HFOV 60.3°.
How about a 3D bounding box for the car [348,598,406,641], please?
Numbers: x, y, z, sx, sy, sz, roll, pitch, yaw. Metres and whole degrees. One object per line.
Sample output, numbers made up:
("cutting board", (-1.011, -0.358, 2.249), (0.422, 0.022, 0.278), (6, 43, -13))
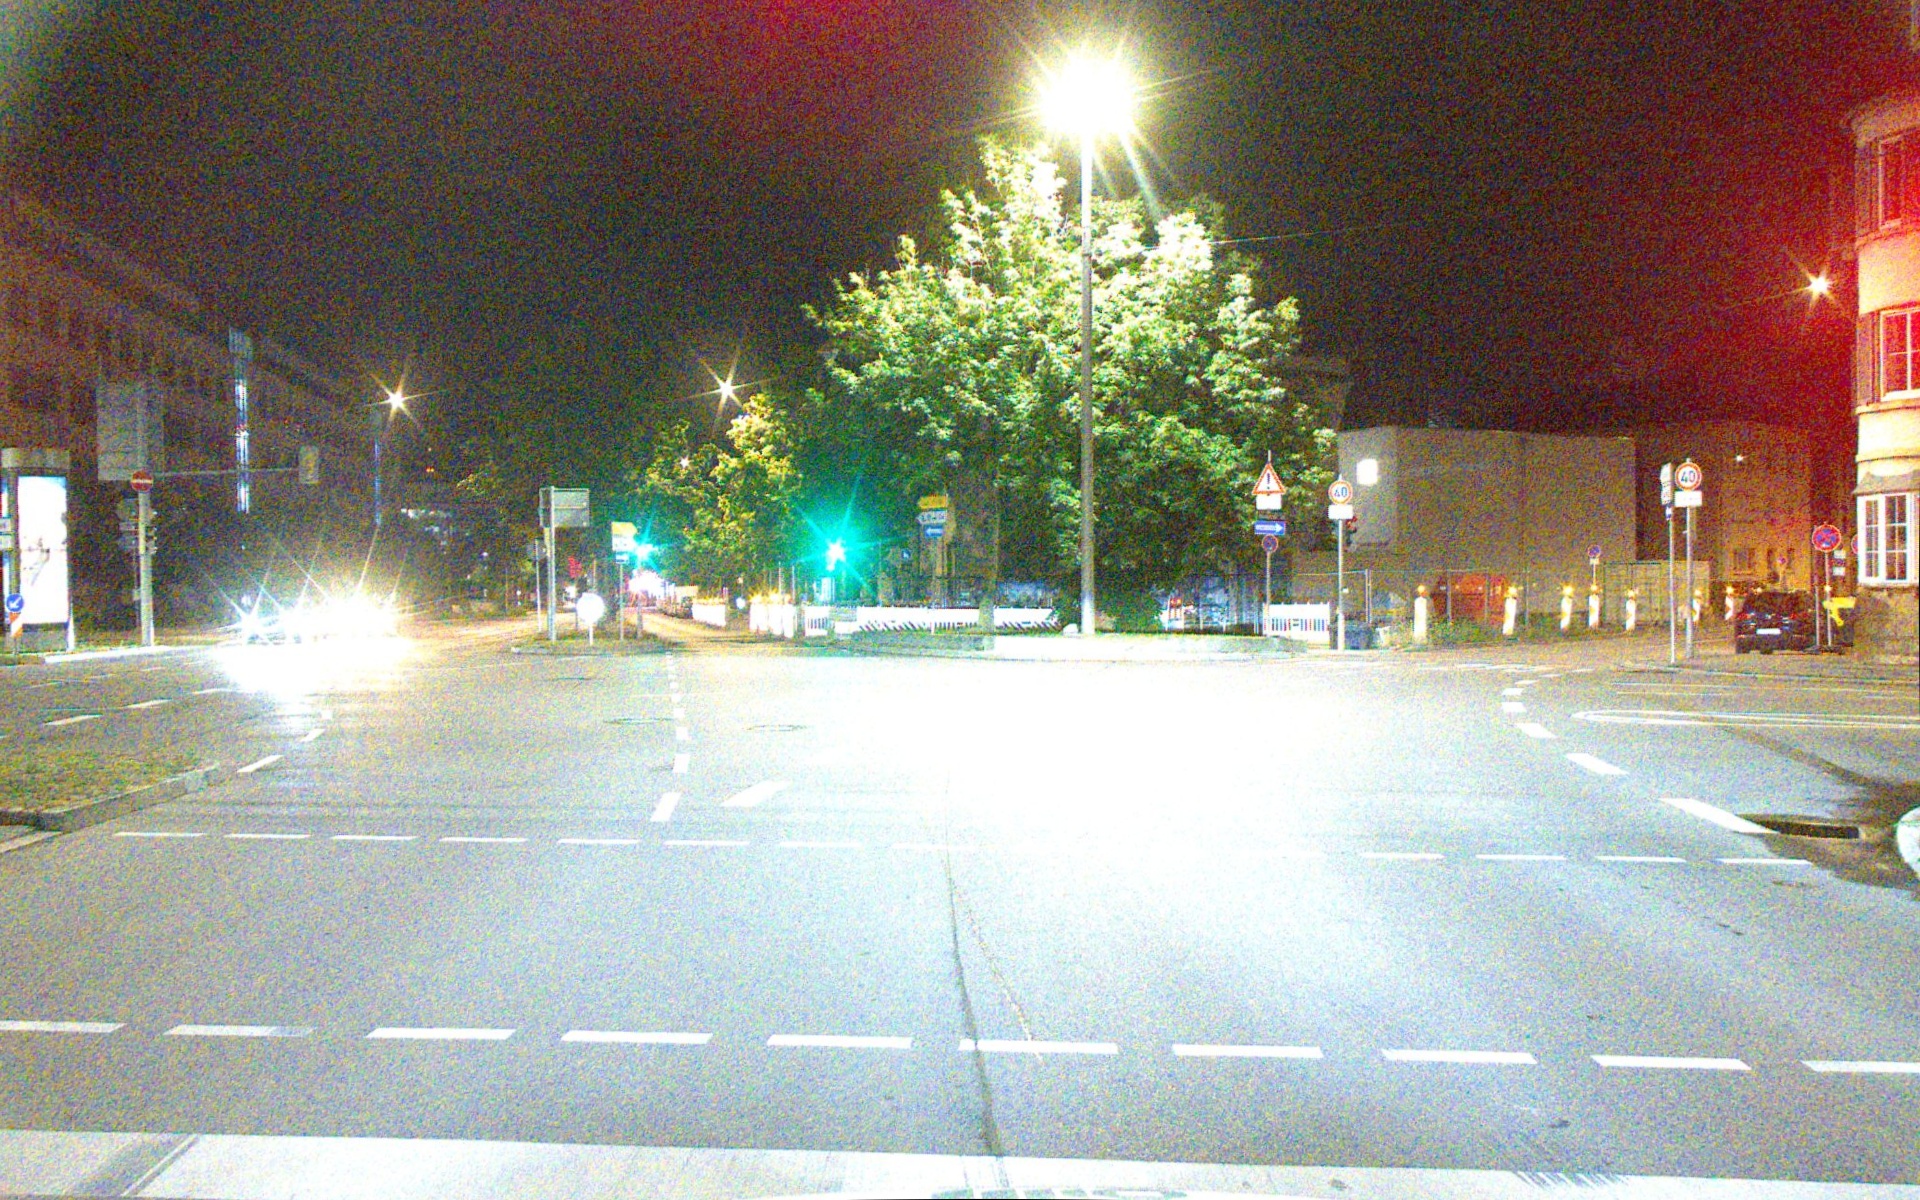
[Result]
("car", (-24.268, 0.797, 68.944), (1.726, 1.758, 3.539), (0, -1, -10))

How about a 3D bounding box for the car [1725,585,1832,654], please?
("car", (20.515, 0.477, 41.403), (1.700, 1.640, 3.607), (-1, -1, 38))

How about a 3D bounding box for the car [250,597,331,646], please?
("car", (-21.838, 0.690, 54.059), (1.586, 1.541, 3.991), (0, -1, -9))

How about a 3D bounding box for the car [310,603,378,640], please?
("car", (-22.831, 0.785, 61.374), (1.726, 1.345, 3.539), (0, -1, -10))
